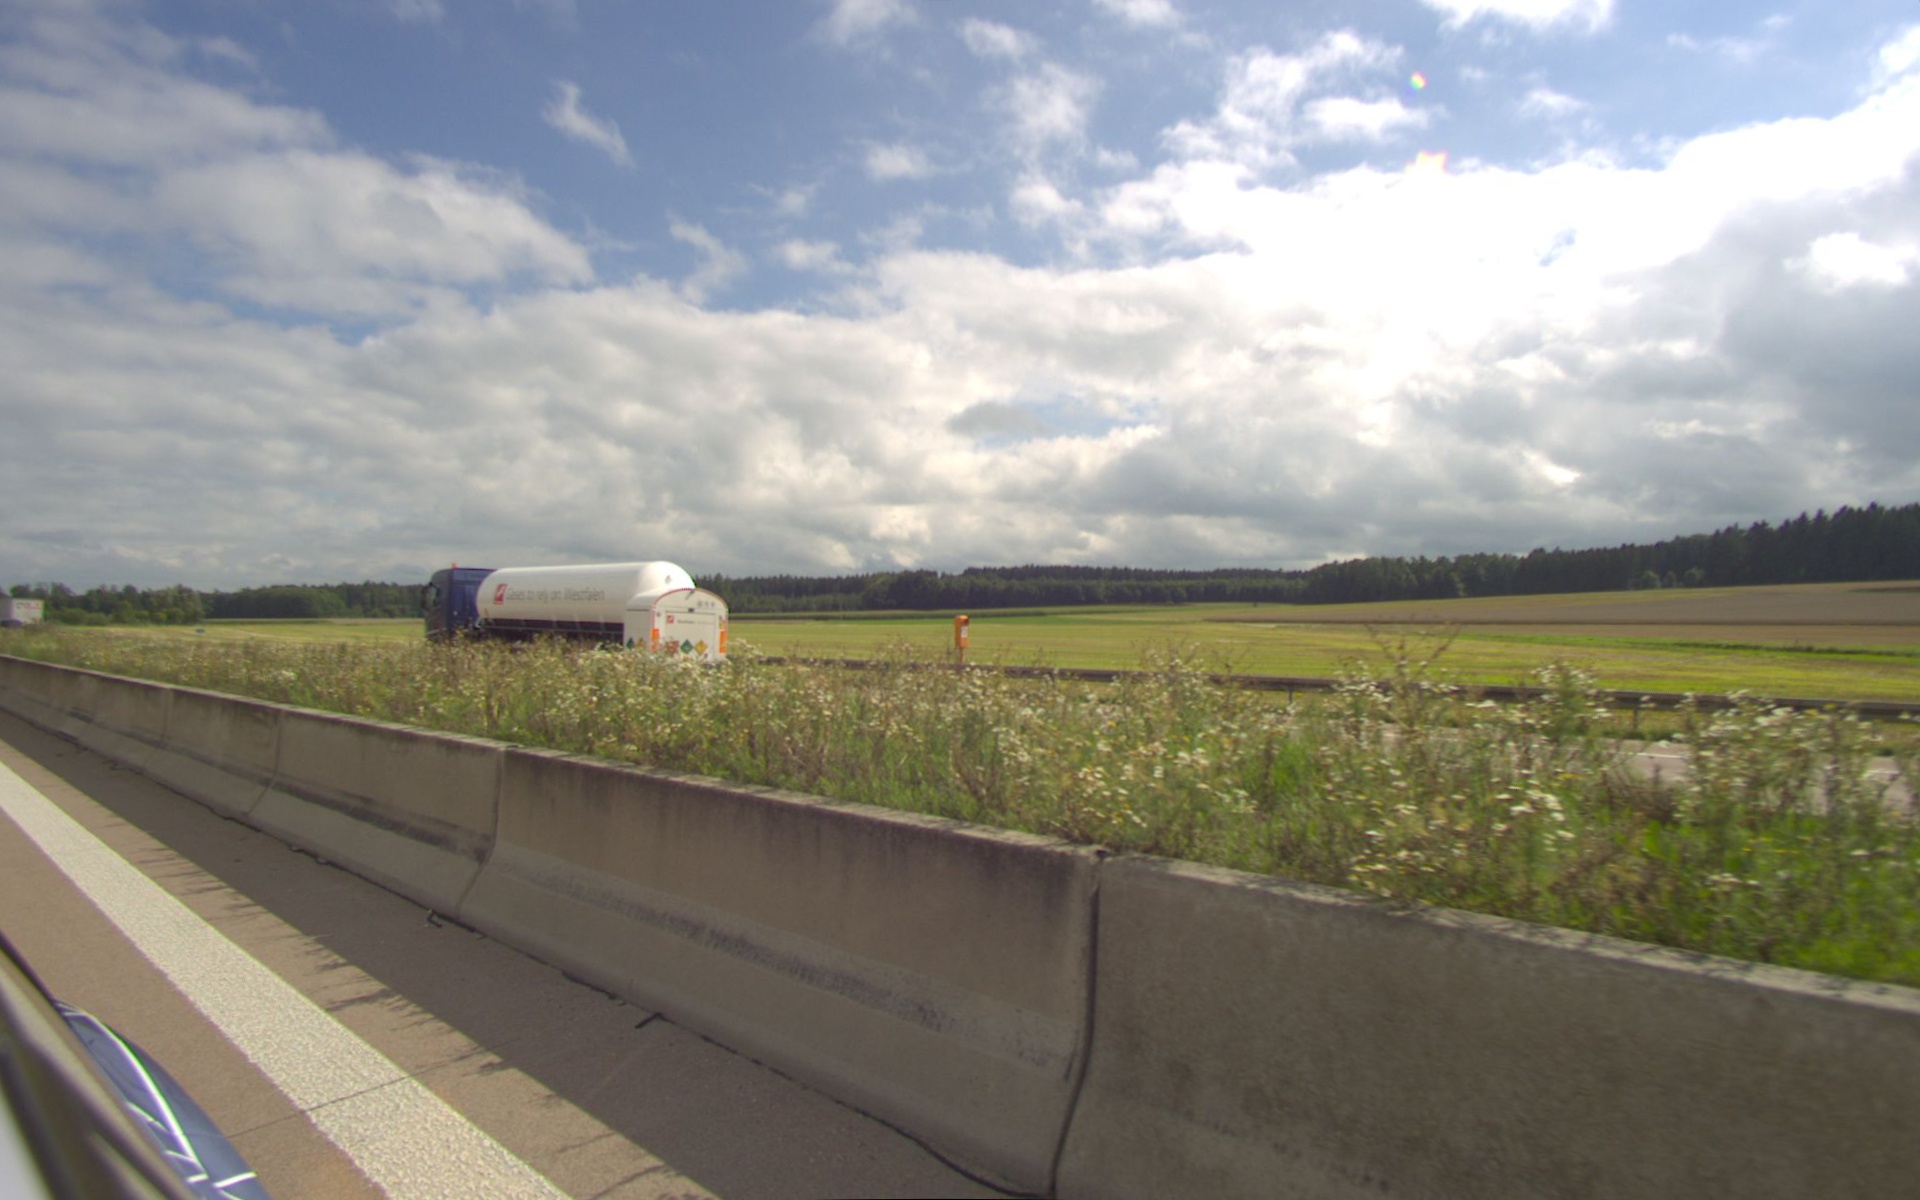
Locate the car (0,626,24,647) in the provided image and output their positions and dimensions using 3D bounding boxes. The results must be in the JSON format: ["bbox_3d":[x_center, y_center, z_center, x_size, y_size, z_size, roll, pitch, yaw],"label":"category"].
[{"bbox_3d":[-79.462,3.017,84.072,4.253,1.712,1.973,-1,-3,41],"label":"car"}]

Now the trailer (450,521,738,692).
[{"bbox_3d":[-10.899,0.302,29.147,11.033,4.130,2.861,-1,-3,42],"label":"trailer"}]

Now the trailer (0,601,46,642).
[{"bbox_3d":[-101.974,2.373,109.451,13.254,4.129,3.174,-2,0,42],"label":"trailer"}]

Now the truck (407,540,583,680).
[{"bbox_3d":[-15.290,0.414,33.116,6.333,4.130,2.861,-1,-3,42],"label":"truck"}]
